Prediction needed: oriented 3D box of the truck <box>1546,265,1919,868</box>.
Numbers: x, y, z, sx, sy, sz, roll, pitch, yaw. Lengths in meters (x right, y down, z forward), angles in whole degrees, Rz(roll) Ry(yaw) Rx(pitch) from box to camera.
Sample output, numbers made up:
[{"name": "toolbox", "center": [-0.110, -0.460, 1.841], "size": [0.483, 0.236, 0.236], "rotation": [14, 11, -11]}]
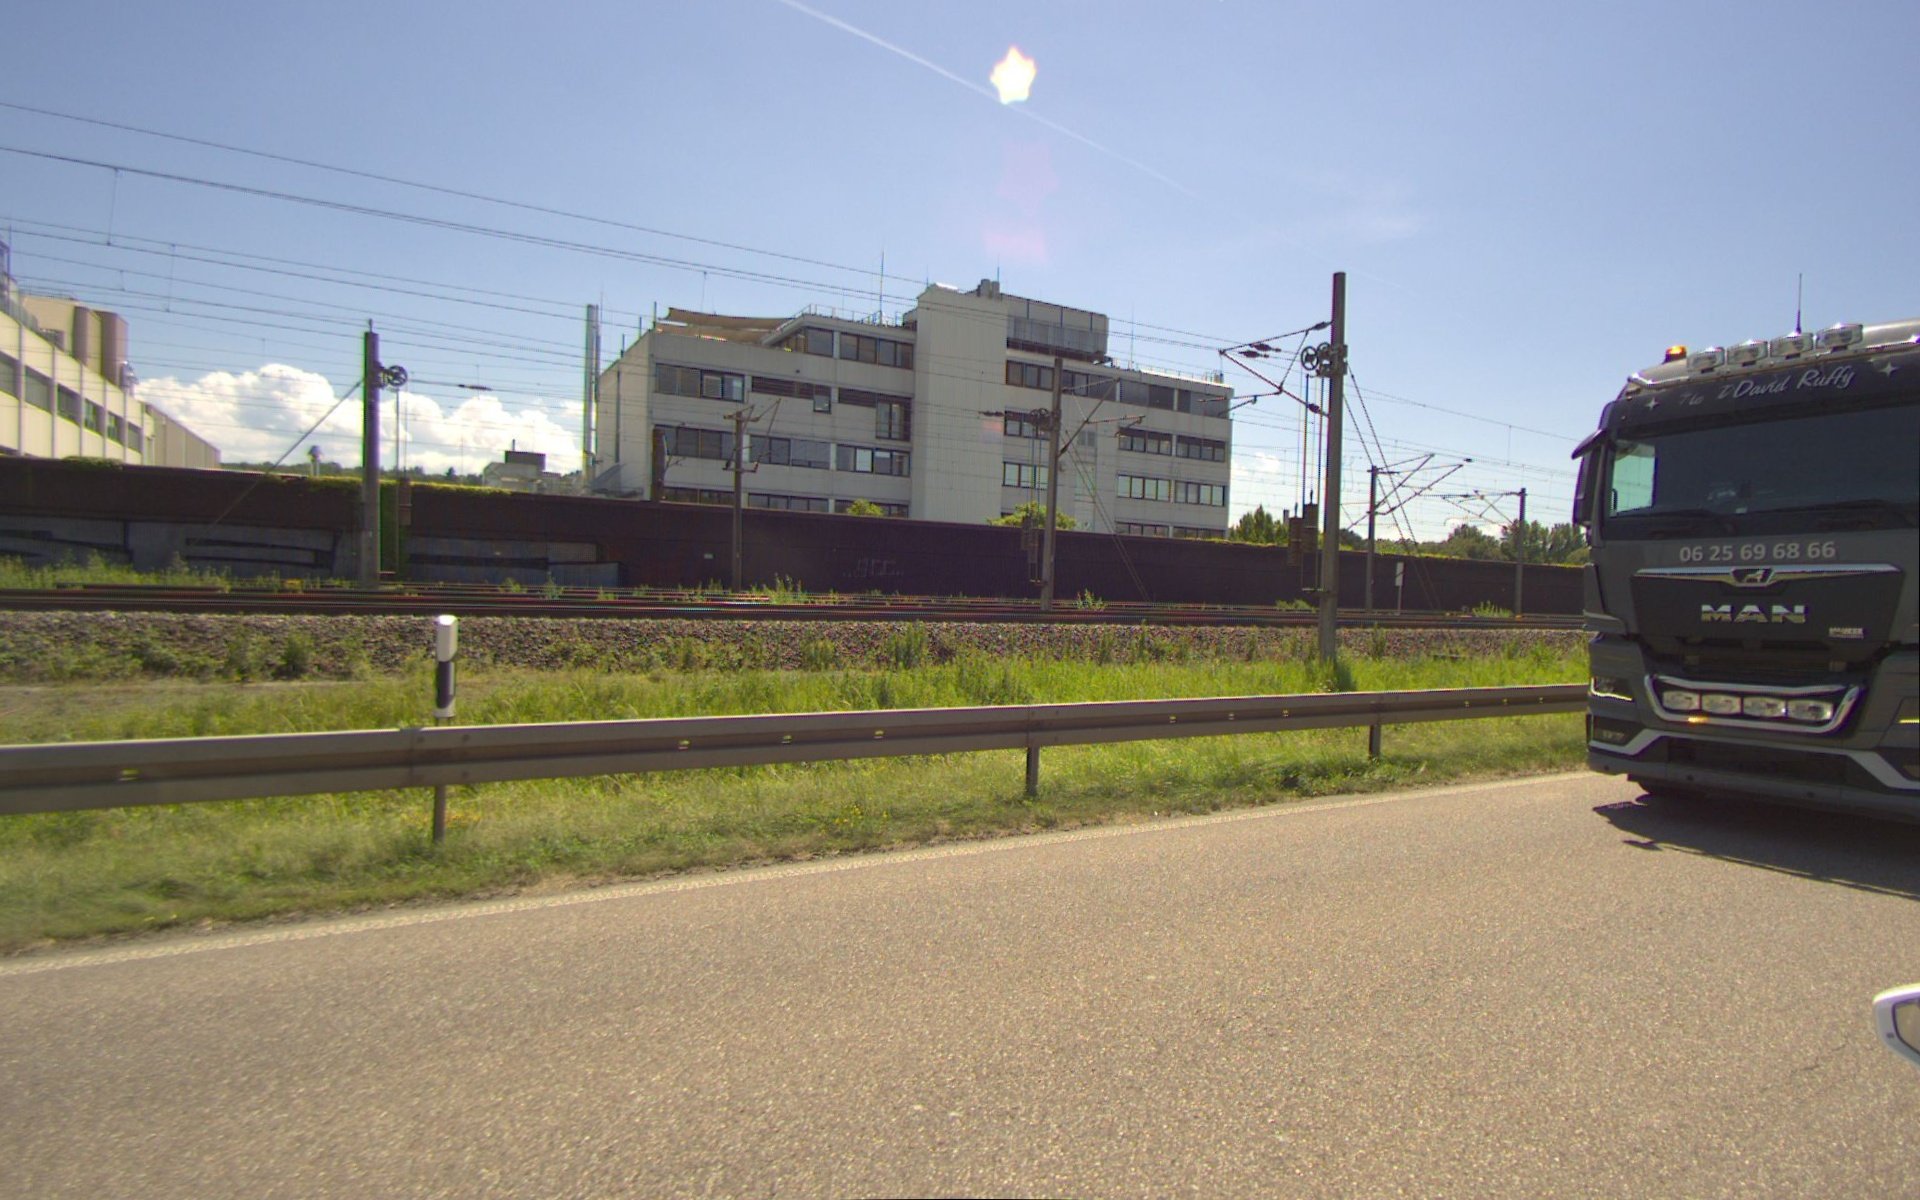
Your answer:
[{"name": "truck", "center": [10.021, -0.135, 9.731], "size": [10.853, 3.675, 2.644], "rotation": [1, 1, -32]}]
